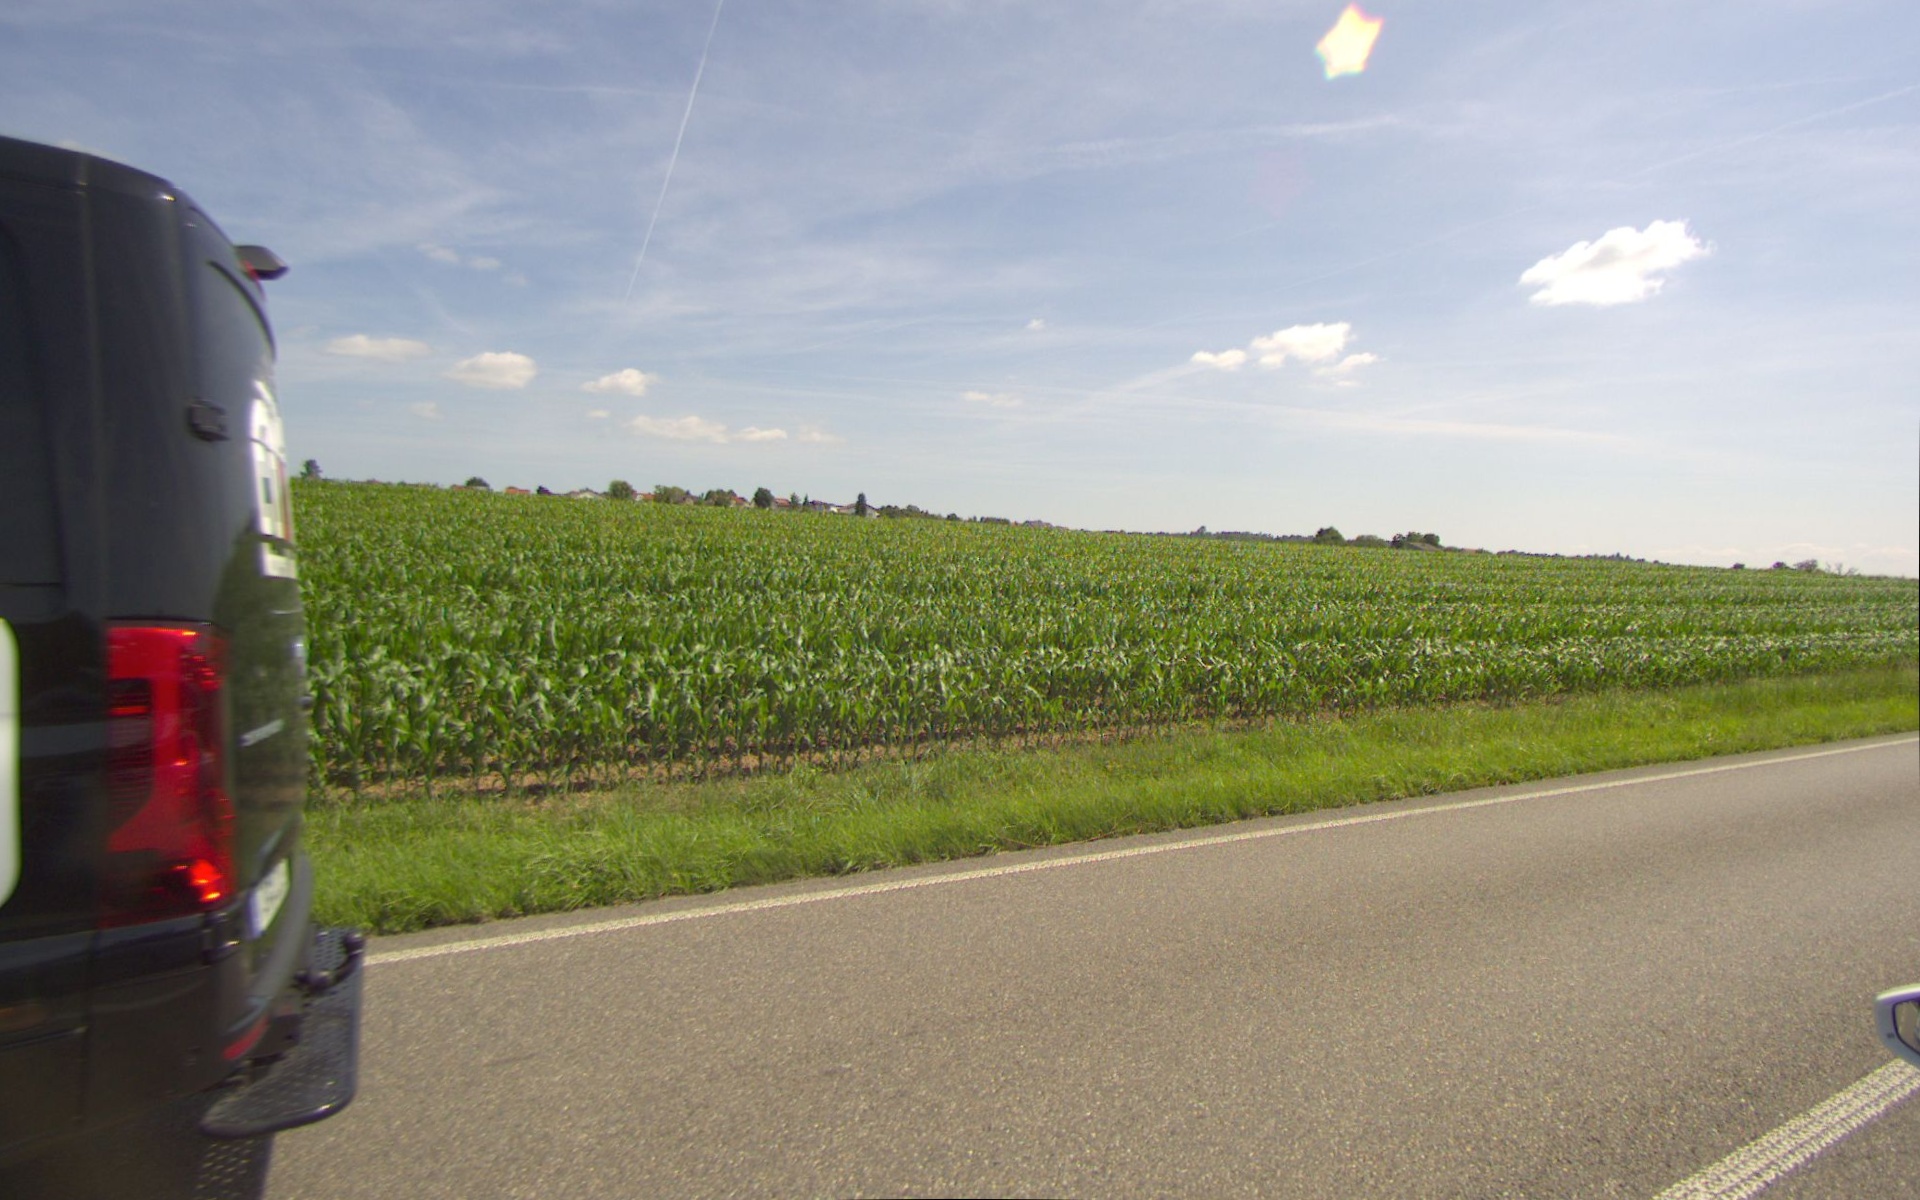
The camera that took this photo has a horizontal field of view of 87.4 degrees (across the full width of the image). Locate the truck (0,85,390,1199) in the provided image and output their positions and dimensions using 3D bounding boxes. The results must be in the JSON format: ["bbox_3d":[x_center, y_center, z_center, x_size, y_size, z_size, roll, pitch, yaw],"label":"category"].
[{"bbox_3d":[-3.880,0.238,1.597,5.131,2.351,2.000,1,0,-30],"label":"truck"}]
